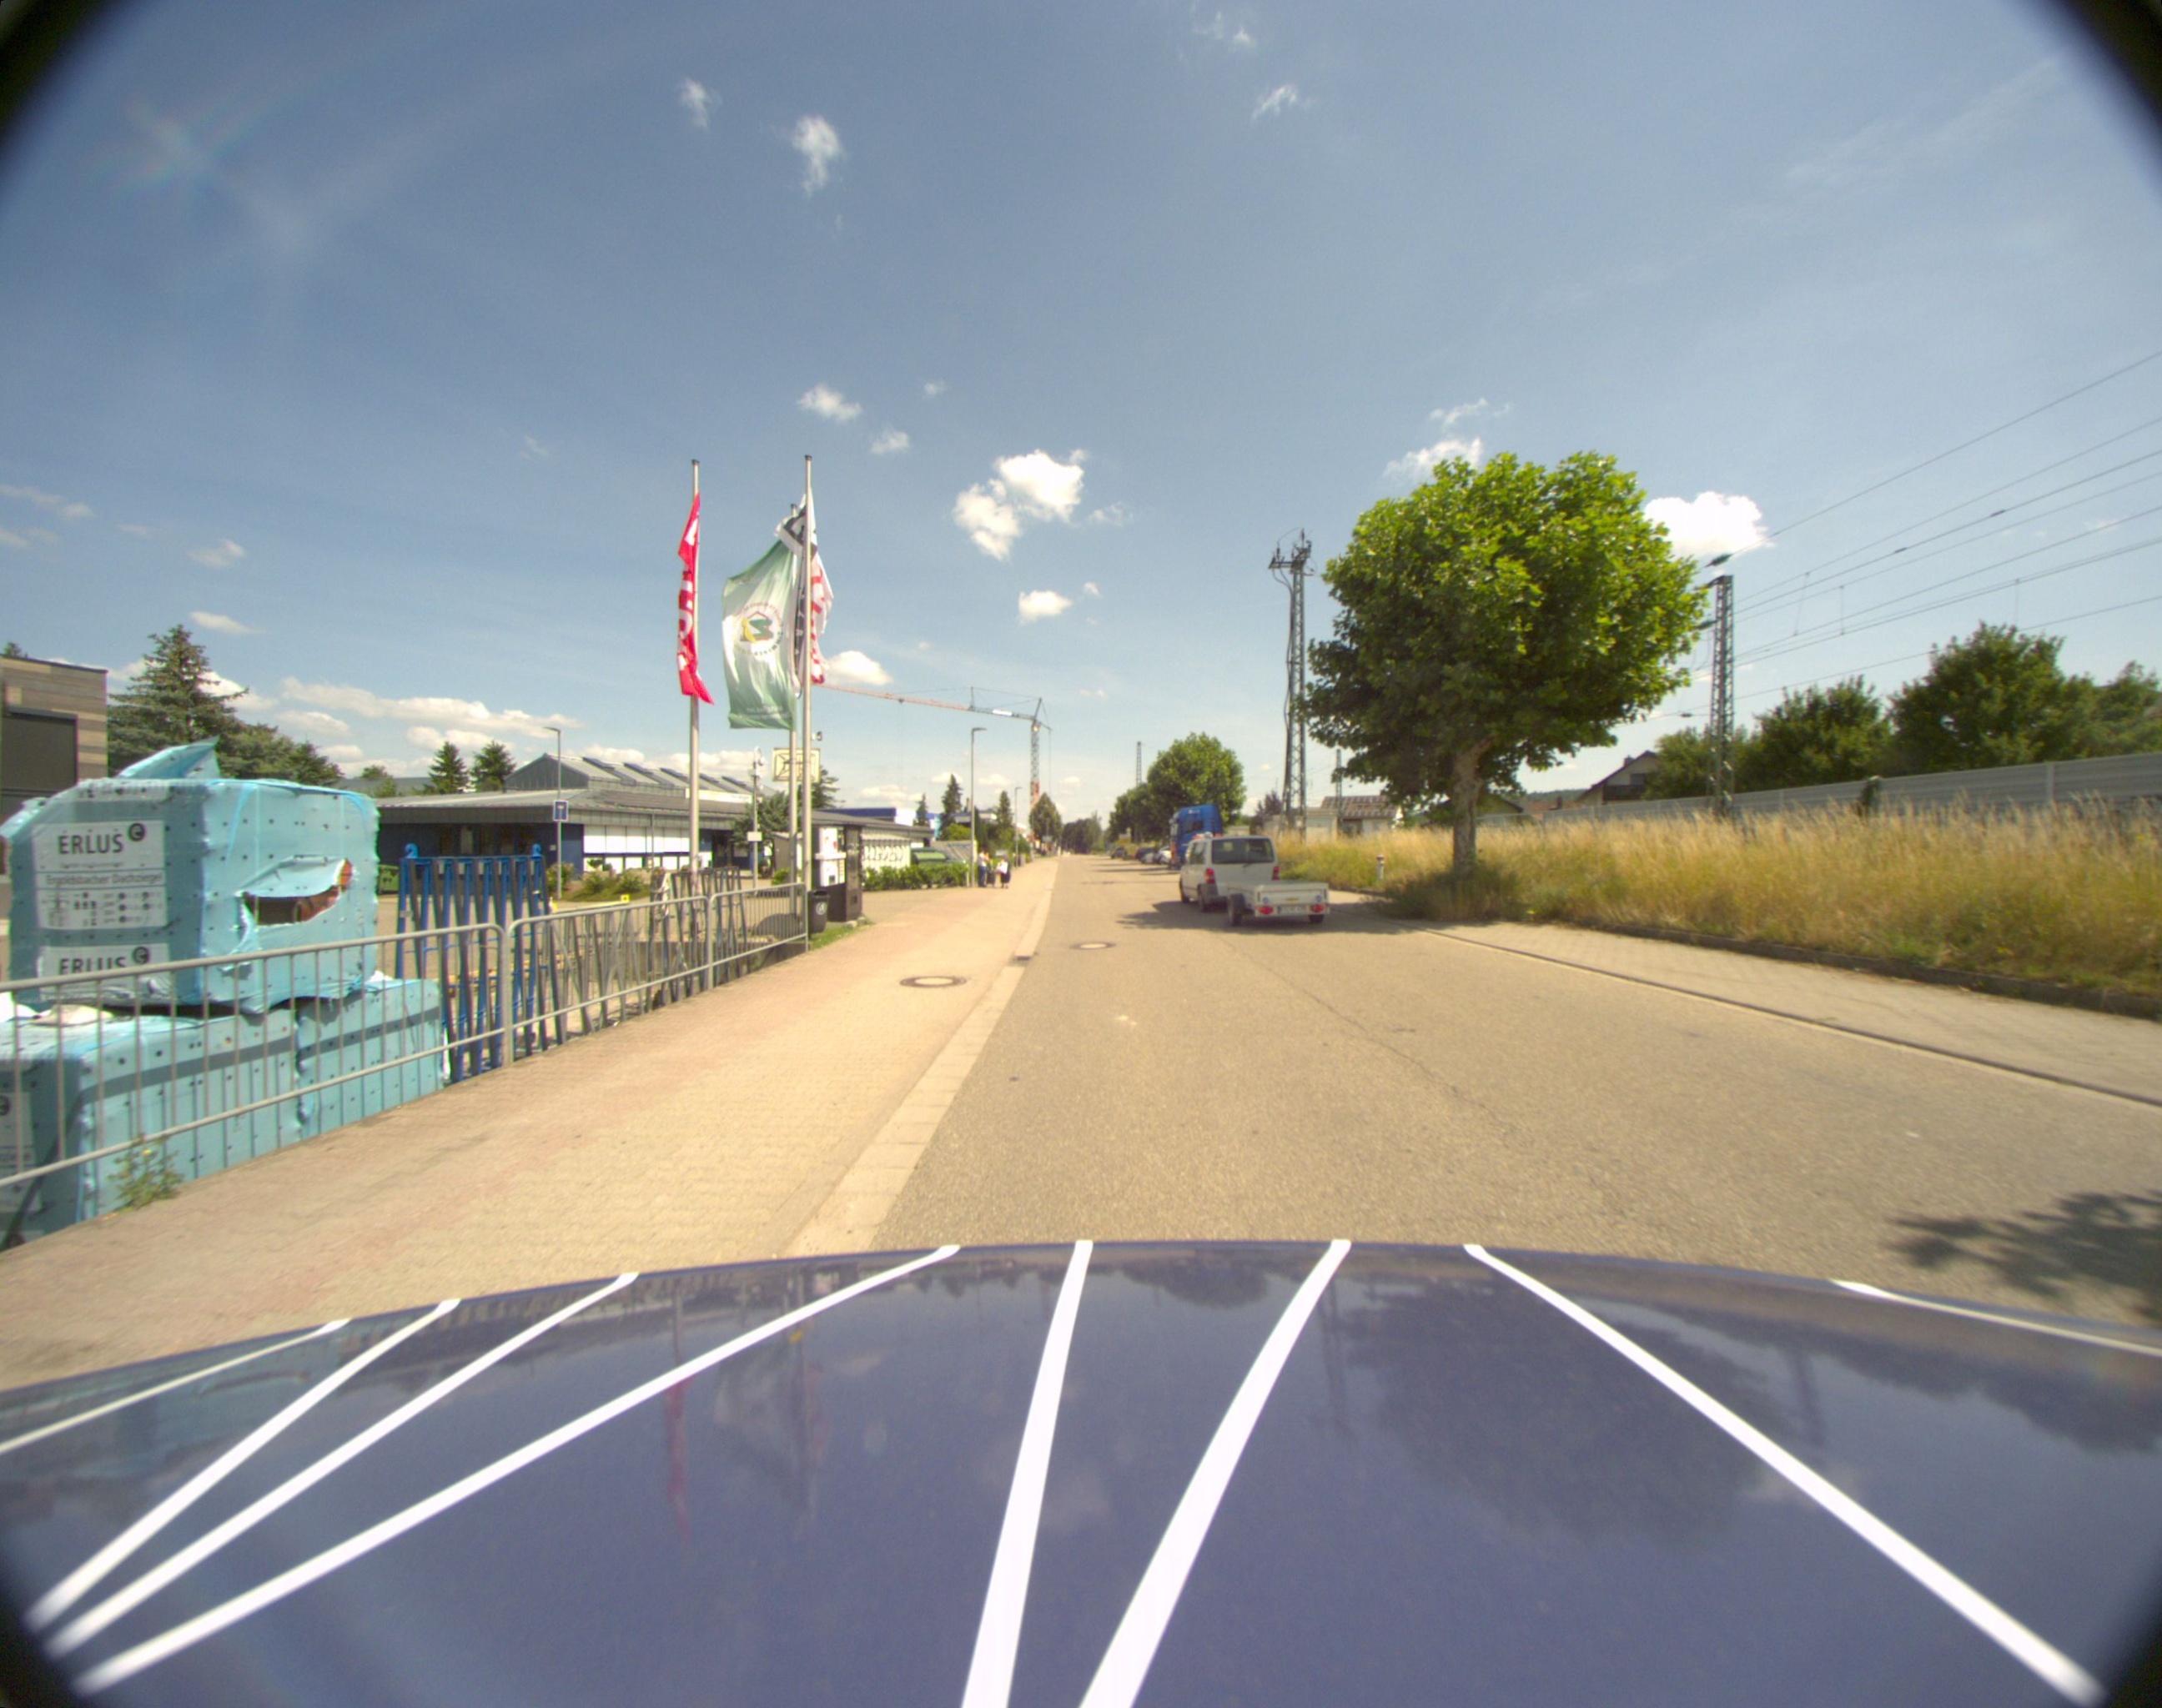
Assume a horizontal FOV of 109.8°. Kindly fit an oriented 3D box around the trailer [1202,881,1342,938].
[{"bbox_3d":[3.719,1.059,15.555,1.823,0.845,4.222,1,0,1],"label":"trailer"}]

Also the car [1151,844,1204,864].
[{"bbox_3d":[7.799,0.014,61.696,3.998,1.539,1.999,-1,1,-3],"label":"car"}]

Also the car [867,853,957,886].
[{"bbox_3d":[-7.988,0.711,36.200,3.855,1.447,1.817,-1,1,0],"label":"car"}]

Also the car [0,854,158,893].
[{"bbox_3d":[-48.021,0.880,36.473,1.761,1.663,4.613,0,2,0],"label":"car"}]

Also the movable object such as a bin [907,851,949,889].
[{"bbox_3d":[-6.158,0.630,30.604,1.270,1.450,1.046,-3,1,-38],"label":"movable object such as a bin"}]

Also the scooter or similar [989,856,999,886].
[{"bbox_3d":[-3.482,0.675,30.389,0.334,1.191,0.397,0,3,0],"label":"scooter or similar"}]

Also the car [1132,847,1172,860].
[{"bbox_3d":[7.590,-0.054,81.393,4.083,1.360,1.674,-1,0,0],"label":"car"}]

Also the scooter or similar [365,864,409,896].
[{"bbox_3d":[-30.663,1.133,33.586,1.113,1.314,0.926,1,3,9],"label":"scooter or similar"}]

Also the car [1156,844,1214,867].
[{"bbox_3d":[7.691,0.111,56.449,3.981,1.608,1.850,-1,1,-4],"label":"car"}]

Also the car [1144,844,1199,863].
[{"bbox_3d":[7.612,-0.028,64.365,4.349,1.524,1.926,-1,0,-1],"label":"car"}]

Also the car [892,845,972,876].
[{"bbox_3d":[-8.366,0.340,42.946,4.224,1.625,1.799,0,3,-2],"label":"car"}]

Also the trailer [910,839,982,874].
[{"bbox_3d":[-8.137,0.168,46.165,3.997,2.001,2.000,-1,-1,-1],"label":"trailer"}]

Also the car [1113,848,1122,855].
[{"bbox_3d":[7.077,-0.594,149.130,1.607,1.342,4.000,0,1,1],"label":"car"}]

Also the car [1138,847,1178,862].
[{"bbox_3d":[7.613,0.049,75.289,3.954,1.442,1.787,0,1,4],"label":"car"}]

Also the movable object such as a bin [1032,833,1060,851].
[{"bbox_3d":[-6.900,-2.326,149.810,5.133,3.277,2.390,0,6,-17],"label":"movable object such as a bin"}]

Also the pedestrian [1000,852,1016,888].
[{"bbox_3d":[-2.938,0.648,30.644,0.595,1.397,0.583,0,3,-2],"label":"pedestrian"}]

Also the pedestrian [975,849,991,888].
[{"bbox_3d":[-3.942,0.577,30.632,0.536,1.531,0.510,1,2,-2],"label":"pedestrian"}]

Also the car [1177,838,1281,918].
[{"bbox_3d":[3.726,0.541,19.940,1.843,1.847,4.483,-1,1,0],"label":"car"}]

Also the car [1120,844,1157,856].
[{"bbox_3d":[7.126,-0.505,94.986,4.439,1.402,1.787,0,1,-3],"label":"car"}]

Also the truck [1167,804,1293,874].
[{"bbox_3d":[8.480,-0.854,43.748,6.632,3.801,2.663,-1,1,-3],"label":"truck"}]
